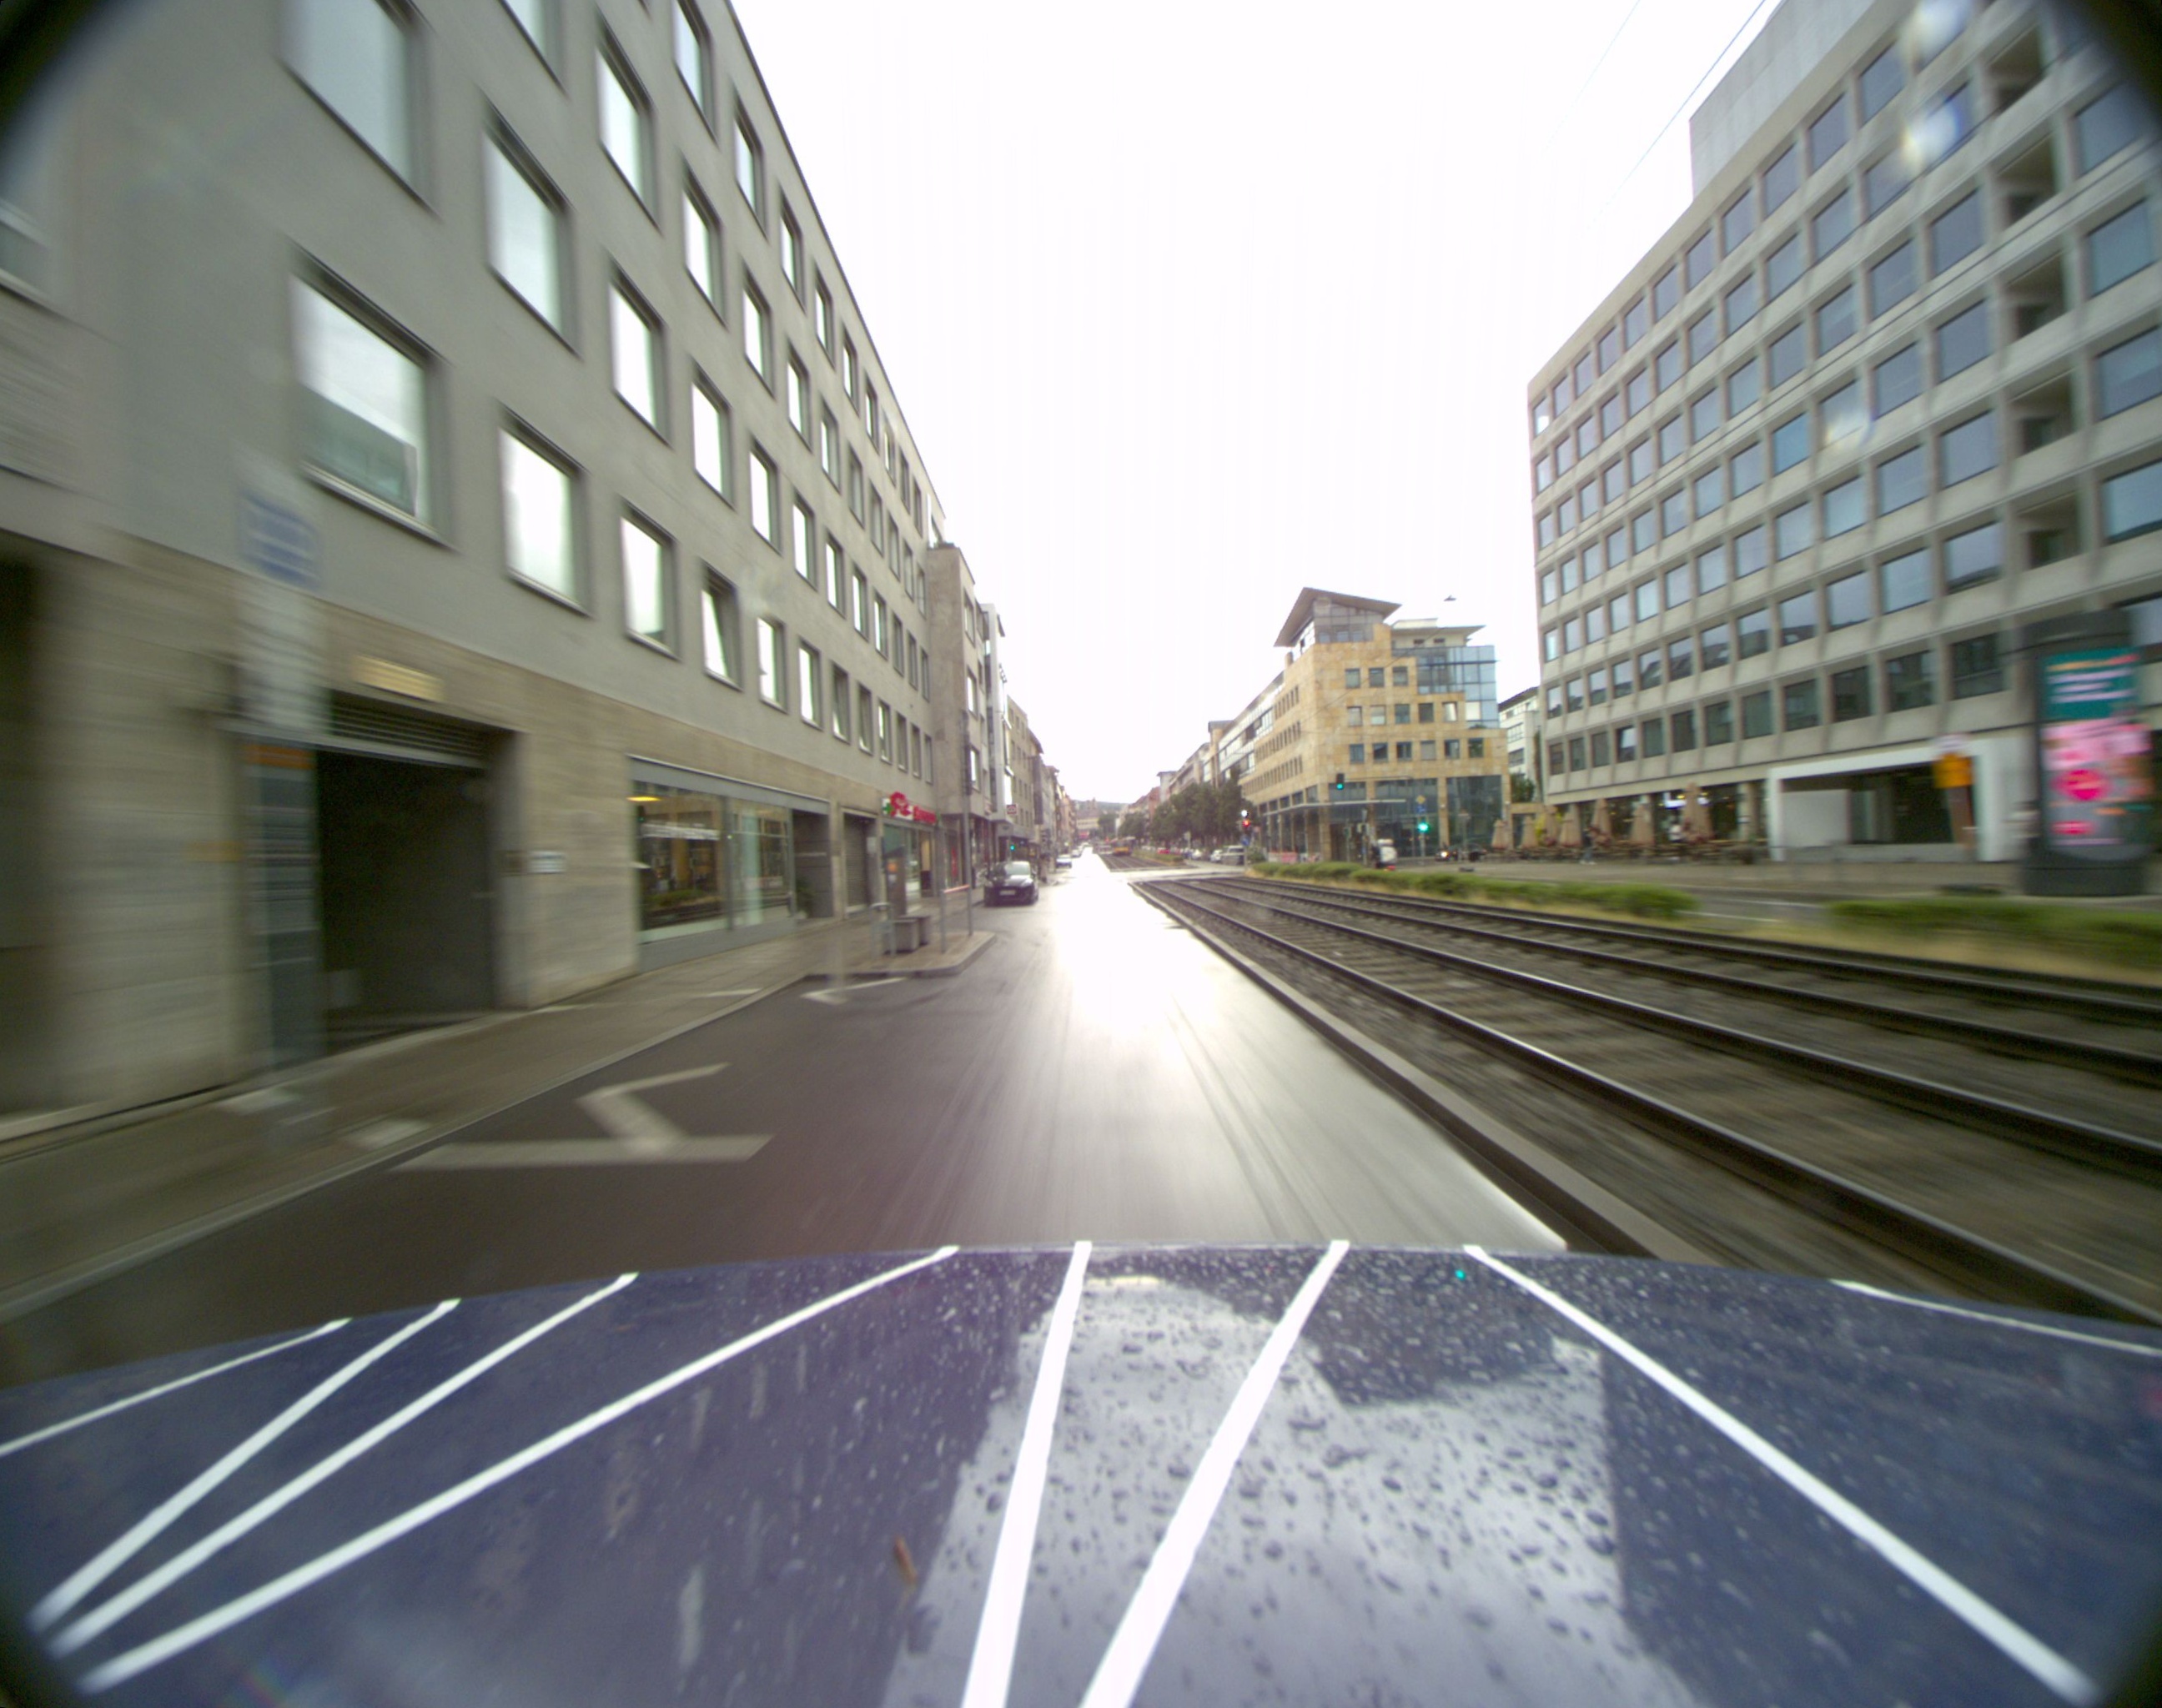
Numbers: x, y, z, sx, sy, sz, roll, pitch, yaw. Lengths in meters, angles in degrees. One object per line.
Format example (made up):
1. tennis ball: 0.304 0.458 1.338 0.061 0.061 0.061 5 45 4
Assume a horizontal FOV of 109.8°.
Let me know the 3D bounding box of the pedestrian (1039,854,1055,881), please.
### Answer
1. pedestrian: -1.953 0.781 44.038 0.662 1.573 0.778 -2 1 -21

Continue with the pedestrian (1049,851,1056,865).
1. pedestrian: -3.497 0.531 93.639 0.793 1.650 0.721 -3 1 1

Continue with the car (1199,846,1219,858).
1. car: 16.447 -0.207 97.783 1.693 1.477 4.000 -3 0 0

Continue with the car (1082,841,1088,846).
1. car: 1.231 -3.424 244.630 1.653 1.584 4.067 -2 1 1

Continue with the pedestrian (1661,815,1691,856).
1. pedestrian: 25.877 -0.780 33.055 0.566 1.738 0.844 -3 1 -3

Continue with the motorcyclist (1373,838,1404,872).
1. motorcyclist: 11.557 0.034 28.552 0.743 1.210 0.970 -3 1 3

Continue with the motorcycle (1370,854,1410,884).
1. motorcycle: 11.579 0.540 28.513 0.744 1.053 1.931 -3 1 3

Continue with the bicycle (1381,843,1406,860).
1. bicycle: 25.605 -0.166 62.280 1.768 1.303 0.660 -3 0 0

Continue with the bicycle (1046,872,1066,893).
1. bicycle: -1.563 1.786 47.490 0.499 1.251 1.953 -3 1 -24

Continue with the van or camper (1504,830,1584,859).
1. van or camper: 37.053 -0.765 60.930 5.095 2.050 2.096 -3 0 0

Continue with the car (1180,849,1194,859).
1. car: 16.748 -0.027 120.355 1.653 1.532 4.621 -2 1 1

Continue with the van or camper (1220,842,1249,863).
1. van or camper: 16.017 -0.185 79.662 2.022 1.986 5.196 -3 1 1

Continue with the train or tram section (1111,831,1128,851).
1. train or tram section: 8.427 -2.835 166.656 2.909 4.027 18.764 -2 1 1

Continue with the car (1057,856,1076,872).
1. car: -1.669 1.140 87.832 2.029 1.585 4.620 -2 1 0

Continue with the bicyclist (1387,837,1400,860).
1. bicyclist: 25.593 -0.456 62.272 0.710 1.794 0.784 -3 0 1

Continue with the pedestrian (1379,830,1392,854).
1. pedestrian: 23.323 -0.940 58.206 0.677 1.770 0.705 -2 0 36

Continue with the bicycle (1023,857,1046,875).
1. bicycle: -3.248 0.842 52.428 0.579 1.150 1.951 -4 1 -35

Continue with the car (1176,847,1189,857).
1. car: 16.826 -0.357 126.031 1.653 1.532 4.621 -2 1 1

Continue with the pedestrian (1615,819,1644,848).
1. pedestrian: 30.511 -1.140 42.281 0.896 1.523 0.965 -3 0 -1

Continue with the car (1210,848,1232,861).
1. car: 16.087 0.063 87.443 1.693 1.477 4.255 -3 0 0

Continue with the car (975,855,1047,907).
1. car: -2.404 0.897 27.140 1.998 1.585 4.271 -2 1 1

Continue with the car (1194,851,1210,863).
1. car: 16.331 0.336 102.721 1.653 1.489 4.192 -2 1 1

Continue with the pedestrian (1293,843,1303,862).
1. pedestrian: 20.562 -0.133 71.950 0.703 1.804 0.679 -3 0 3

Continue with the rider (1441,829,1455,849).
1. rider: 30.213 -1.228 62.556 0.710 1.666 0.784 -3 0 1

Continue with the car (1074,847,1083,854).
1. car: -0.542 -0.733 156.449 1.653 1.489 4.067 -2 1 1

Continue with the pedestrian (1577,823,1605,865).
1. pedestrian: 22.245 -0.424 33.154 0.566 1.812 0.844 -3 1 -3

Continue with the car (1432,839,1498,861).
1. car: 29.383 -0.296 58.224 3.996 1.521 1.891 -3 0 2
